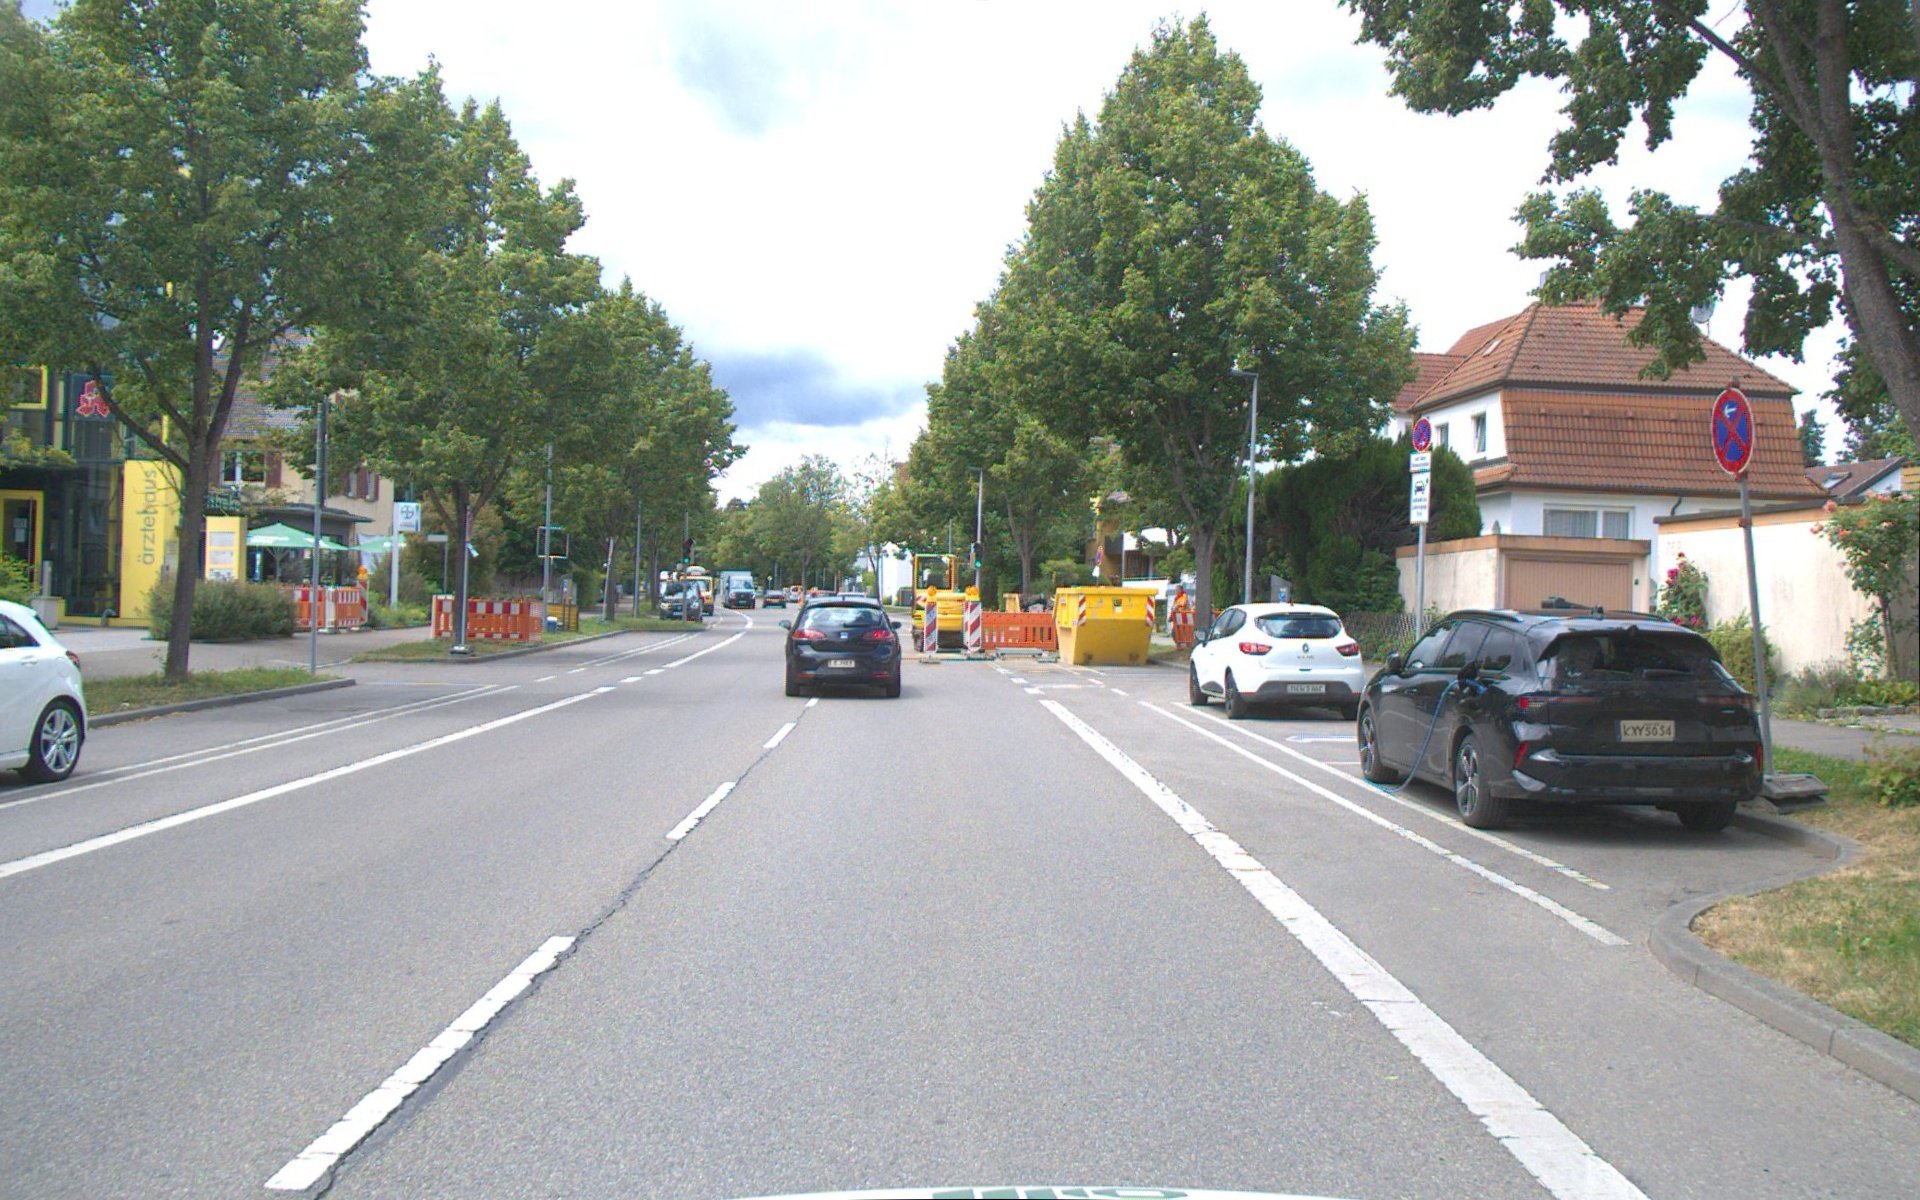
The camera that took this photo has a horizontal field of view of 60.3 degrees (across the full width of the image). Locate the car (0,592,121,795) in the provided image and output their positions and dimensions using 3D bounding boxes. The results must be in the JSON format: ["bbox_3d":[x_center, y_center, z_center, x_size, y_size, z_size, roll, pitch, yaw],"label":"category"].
[{"bbox_3d":[-7.670,0.663,11.168,1.678,1.431,4.301,1,0,2],"label":"car"}]

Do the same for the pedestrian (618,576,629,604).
[{"bbox_3d":[-21.473,-0.661,105.525,0.584,1.772,0.573,1,0,-8],"label":"pedestrian"}]

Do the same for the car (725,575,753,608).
[{"bbox_3d":[-16.596,-0.662,124.353,1.990,2.426,5.253,0,0,-7],"label":"car"}]

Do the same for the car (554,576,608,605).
[{"bbox_3d":[-27.123,-0.670,118.443,3.613,1.960,1.676,1,0,-8],"label":"car"}]

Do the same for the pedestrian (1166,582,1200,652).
[{"bbox_3d":[5.318,0.401,39.451,0.690,1.663,0.643,1,0,-3],"label":"pedestrian"}]

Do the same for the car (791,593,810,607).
[{"bbox_3d":[-16.101,-0.008,167.072,1.775,1.440,3.689,1,0,-5],"label":"car"}]

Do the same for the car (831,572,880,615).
[{"bbox_3d":[-4.343,-0.271,69.089,1.867,1.715,3.739,0,0,-1],"label":"car"}]

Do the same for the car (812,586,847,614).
[{"bbox_3d":[-7.877,-0.005,99.524,1.758,1.651,3.732,0,0,-9],"label":"car"}]

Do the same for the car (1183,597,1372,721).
[{"bbox_3d":[4.173,0.719,22.311,1.638,1.488,3.998,1,0,-2],"label":"car"}]

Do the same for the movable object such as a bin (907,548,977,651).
[{"bbox_3d":[-0.518,-0.023,44.316,1.732,2.619,3.738,1,0,-2],"label":"movable object such as a bin"}]

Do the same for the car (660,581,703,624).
[{"bbox_3d":[-11.957,0.090,71.276,1.635,1.803,4.461,0,0,-7],"label":"car"}]

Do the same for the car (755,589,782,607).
[{"bbox_3d":[-15.040,-0.166,129.804,1.778,1.399,3.682,1,0,-12],"label":"car"}]

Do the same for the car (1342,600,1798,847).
[{"bbox_3d":[4.265,0.758,12.415,1.671,1.480,4.616,1,0,-1],"label":"car"}]

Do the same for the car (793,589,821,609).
[{"bbox_3d":[-11.660,-0.100,125.666,1.777,1.440,3.683,1,0,-11],"label":"car"}]

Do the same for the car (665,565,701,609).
[{"bbox_3d":[-17.291,-0.819,103.429,2.053,2.672,5.036,1,0,-8],"label":"car"}]

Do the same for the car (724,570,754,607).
[{"bbox_3d":[-17.425,-0.913,130.470,2.244,2.840,7.132,0,0,-7],"label":"car"}]

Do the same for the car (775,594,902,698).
[{"bbox_3d":[-1.793,0.653,25.376,1.782,1.463,3.738,0,0,-2],"label":"car"}]

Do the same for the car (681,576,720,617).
[{"bbox_3d":[-14.580,-0.229,93.104,2.053,2.213,5.036,1,0,-8],"label":"car"}]
